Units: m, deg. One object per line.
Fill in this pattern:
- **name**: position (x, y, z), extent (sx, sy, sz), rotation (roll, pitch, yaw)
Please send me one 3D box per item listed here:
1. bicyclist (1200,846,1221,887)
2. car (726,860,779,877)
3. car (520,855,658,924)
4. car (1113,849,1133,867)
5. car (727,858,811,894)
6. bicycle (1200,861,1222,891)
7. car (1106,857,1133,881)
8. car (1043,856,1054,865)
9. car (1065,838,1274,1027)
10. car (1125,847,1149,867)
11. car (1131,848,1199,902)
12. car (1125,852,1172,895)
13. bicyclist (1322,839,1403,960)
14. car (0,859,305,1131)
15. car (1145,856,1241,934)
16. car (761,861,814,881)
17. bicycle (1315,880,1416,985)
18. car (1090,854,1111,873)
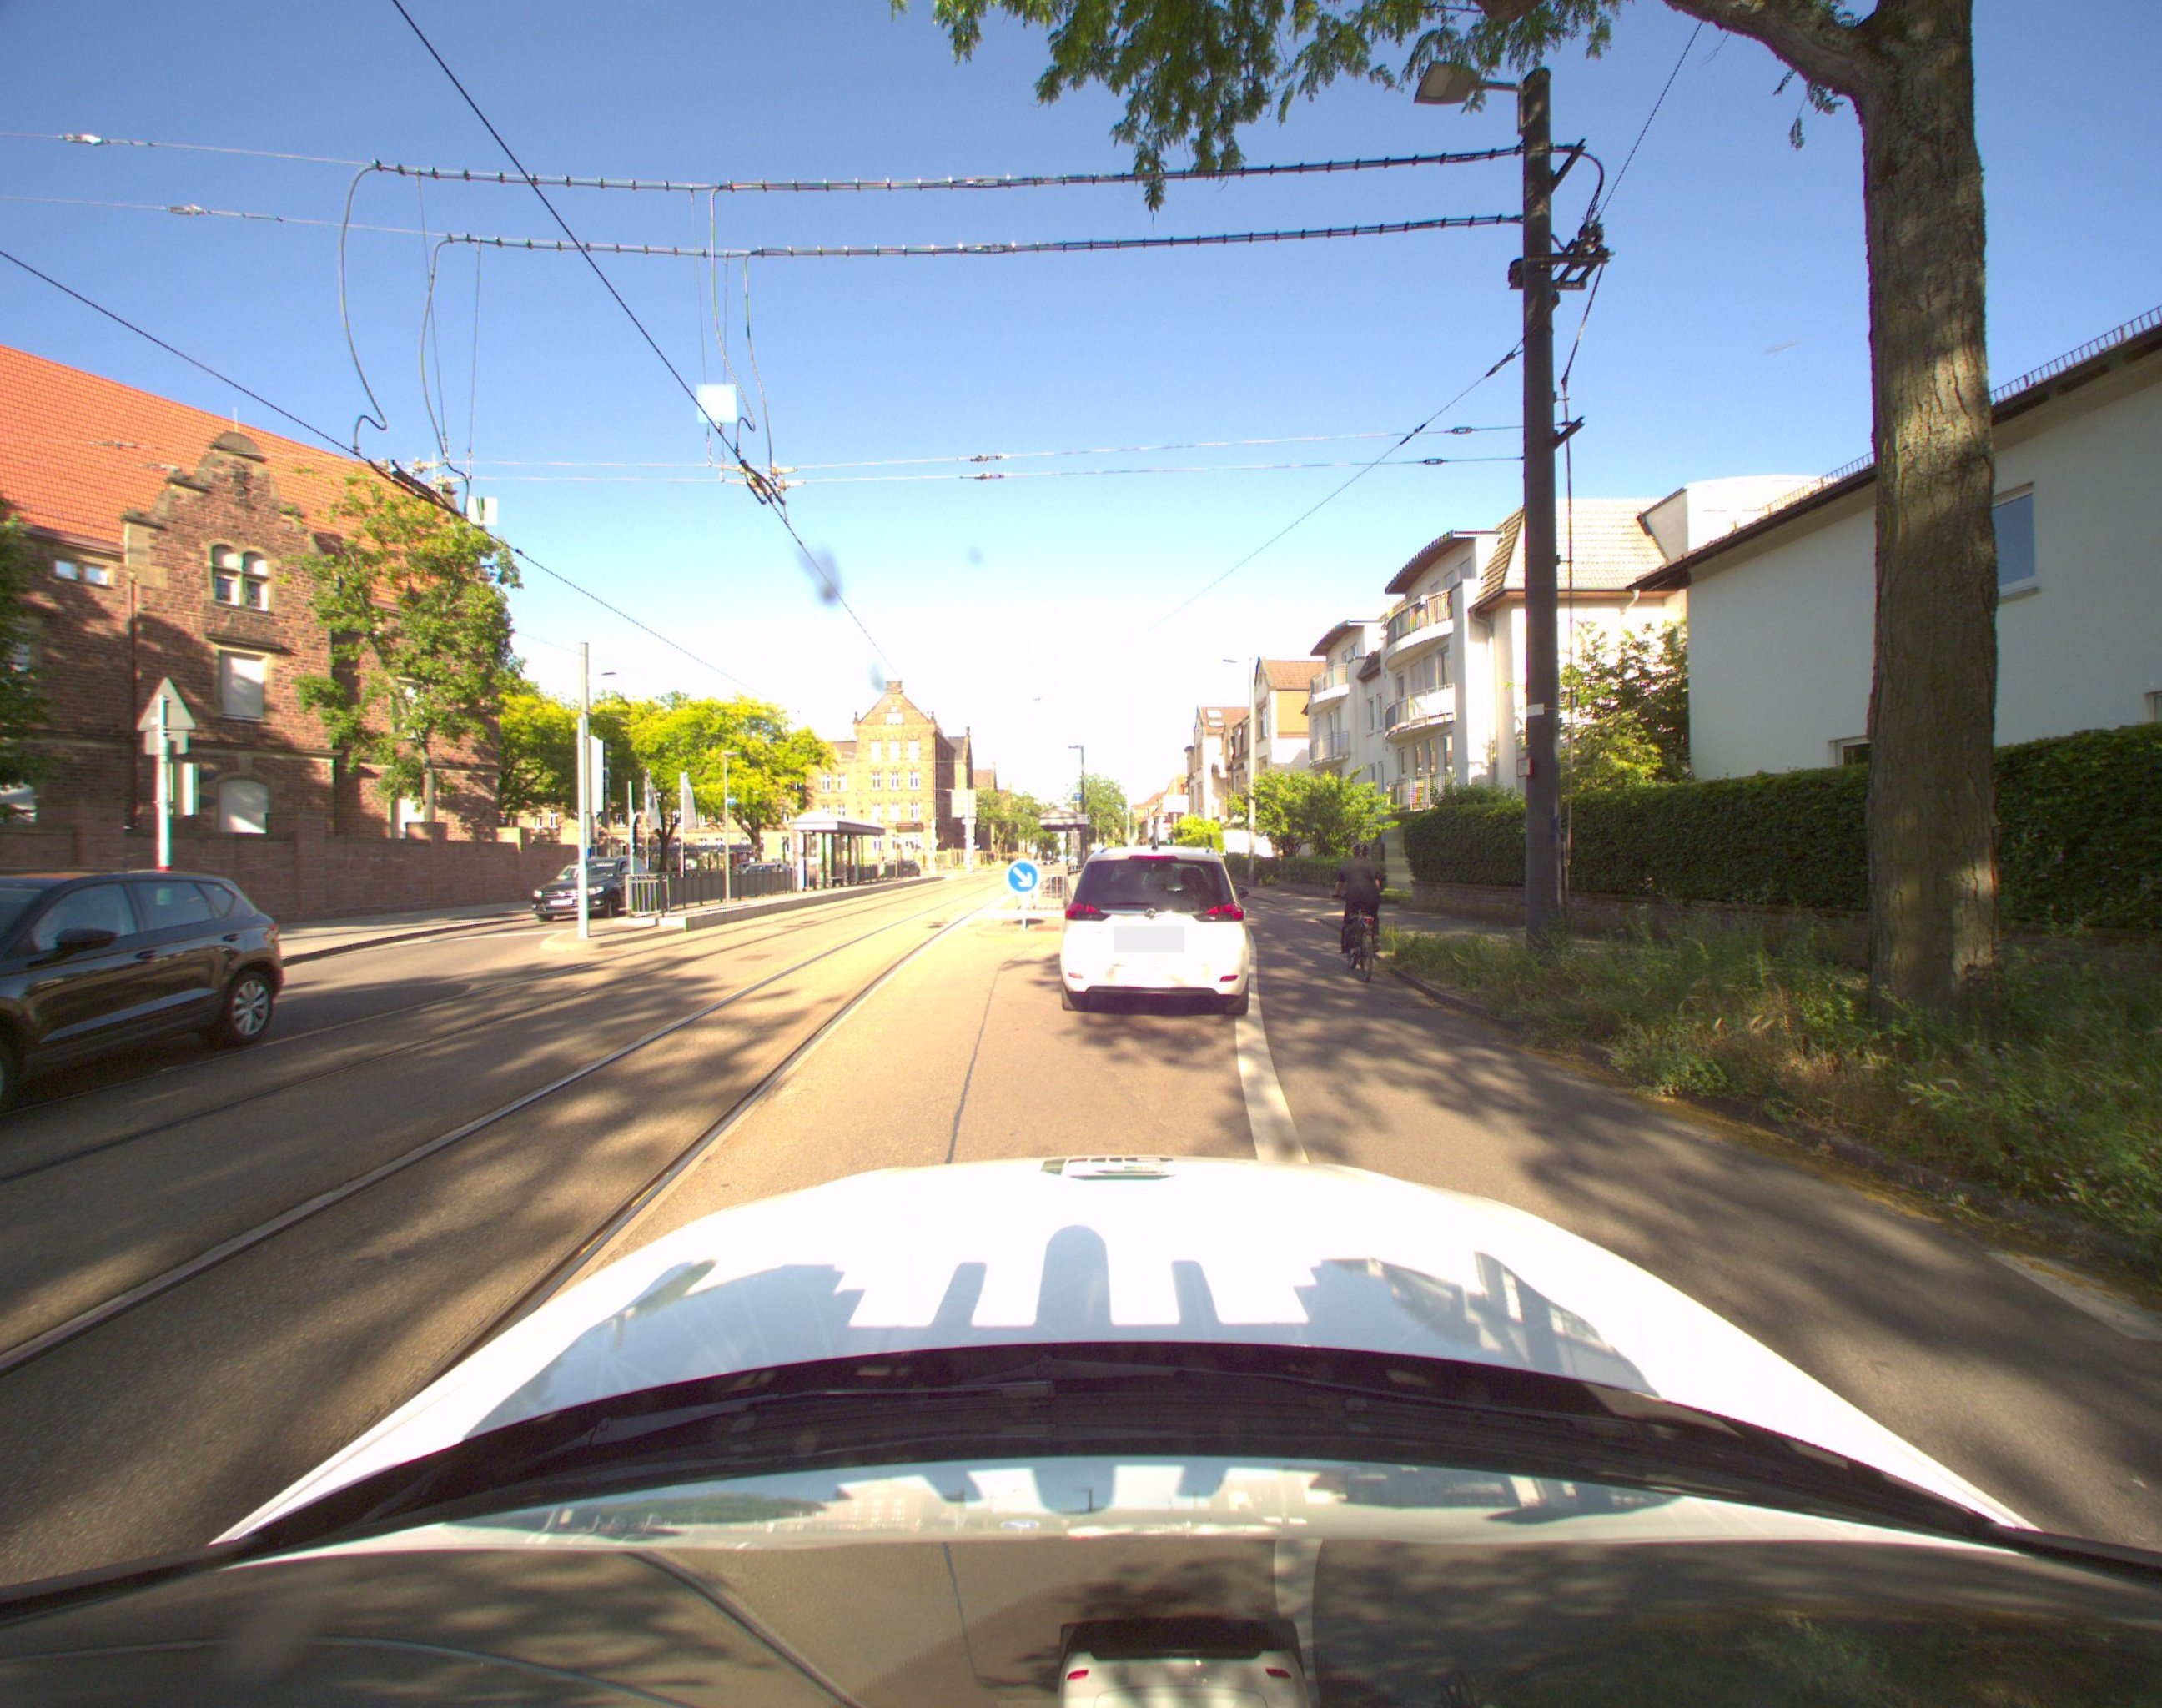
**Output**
- **bicyclist**: position (5.207, 0.510, 32.745), extent (0.683, 1.634, 1.016), rotation (0, -1, 2)
- **car**: position (-30.124, 1.329, 74.765), extent (4.050, 1.522, 1.878), rotation (0, -1, 1)
- **car**: position (-13.247, 0.874, 22.243), extent (1.796, 1.637, 4.105), rotation (-2, 0, -10)
- **car**: position (3.888, 0.355, 75.641), extent (1.769, 1.632, 3.881), rotation (0, -1, 1)
- **car**: position (-13.555, 0.933, 35.662), extent (1.877, 1.415, 4.623), rotation (-1, 0, 0)
- **bicycle**: position (5.211, 0.880, 32.677), extent (0.683, 1.157, 1.620), rotation (0, -1, 2)
- **car**: position (2.672, 1.032, 56.827), extent (1.769, 1.632, 3.882), rotation (0, -1, 2)
- **car**: position (-6.400, 1.270, 161.266), extent (1.901, 1.677, 4.356), rotation (-1, 0, -1)
- **car**: position (0.786, 0.705, 9.122), extent (1.829, 1.642, 3.918), rotation (0, -1, 0)
- **car**: position (4.704, 0.292, 68.793), extent (1.769, 1.632, 3.881), rotation (0, -1, 1)
- **car**: position (2.656, 0.648, 26.415), extent (1.770, 1.632, 3.879), rotation (0, -1, -1)
- **car**: position (2.635, 0.748, 32.632), extent (1.768, 1.632, 3.883), rotation (0, -1, 3)
- **bicyclist**: position (3.660, 0.577, 10.656), extent (0.816, 1.501, 0.936), rotation (-1, -1, 8)
- **car**: position (-7.744, 0.878, 5.590), extent (1.927, 1.616, 4.091), rotation (-2, 0, -19)
- **car**: position (2.273, 0.776, 17.374), extent (1.581, 1.420, 3.901), rotation (-1, 0, 1)
- **car**: position (-25.016, 1.422, 69.428), extent (3.844, 1.660, 1.751), rotation (0, -1, 1)
- **bicycle**: position (3.657, 0.960, 10.652), extent (0.825, 1.154, 2.099), rotation (1, 0, 8)
- **car**: position (1.752, 0.831, 71.767), extent (1.769, 1.692, 3.881), rotation (0, -1, 1)
